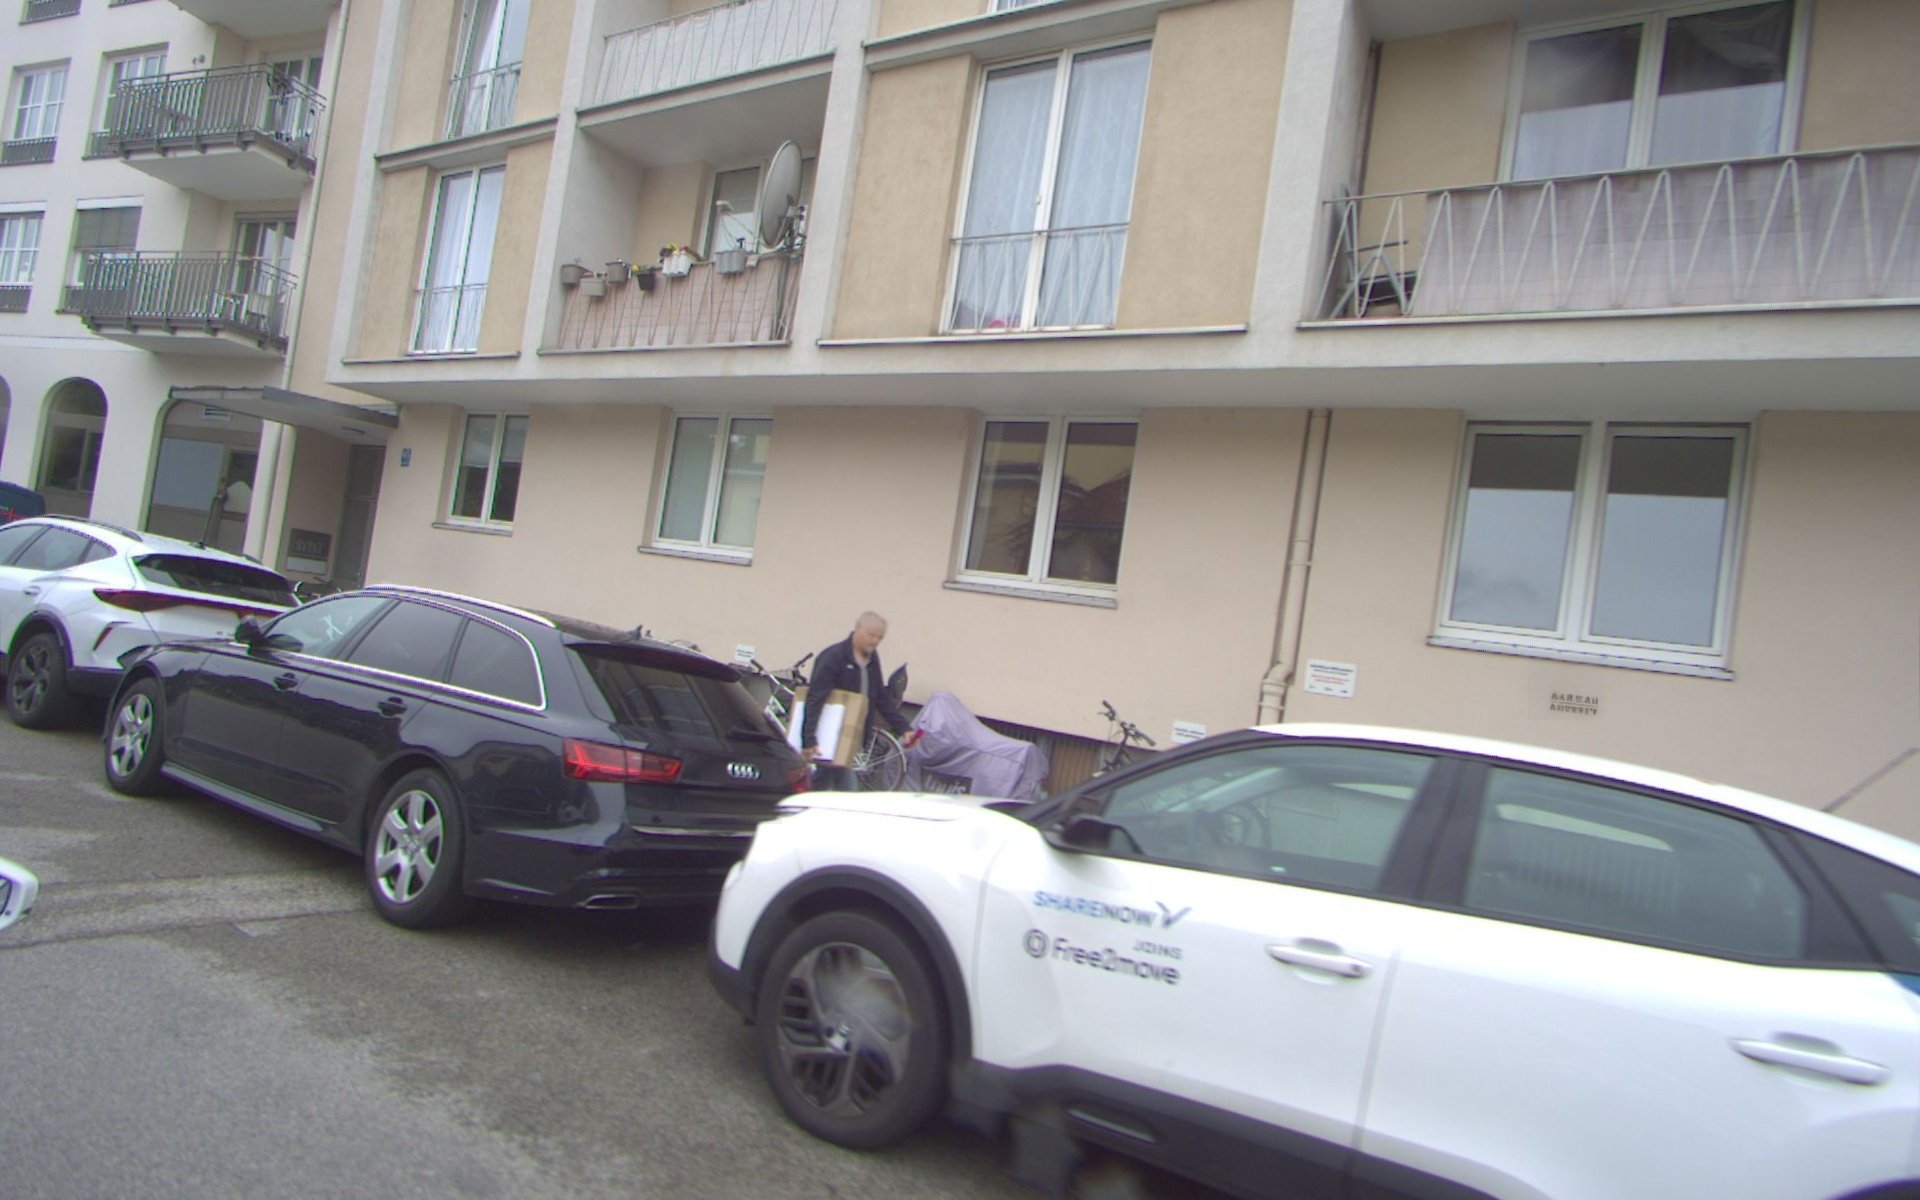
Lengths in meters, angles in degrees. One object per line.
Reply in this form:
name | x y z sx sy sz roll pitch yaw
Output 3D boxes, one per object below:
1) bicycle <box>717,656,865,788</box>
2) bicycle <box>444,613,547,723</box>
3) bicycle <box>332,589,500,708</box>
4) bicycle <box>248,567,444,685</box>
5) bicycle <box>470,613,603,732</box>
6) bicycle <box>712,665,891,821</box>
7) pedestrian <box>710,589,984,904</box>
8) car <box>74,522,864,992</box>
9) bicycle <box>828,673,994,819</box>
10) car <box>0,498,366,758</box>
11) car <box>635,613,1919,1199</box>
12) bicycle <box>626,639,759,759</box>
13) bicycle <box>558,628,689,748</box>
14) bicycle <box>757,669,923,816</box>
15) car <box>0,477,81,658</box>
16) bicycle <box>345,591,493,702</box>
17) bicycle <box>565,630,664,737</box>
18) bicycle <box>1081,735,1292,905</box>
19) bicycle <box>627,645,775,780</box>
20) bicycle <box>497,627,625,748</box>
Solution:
bicycle | -1.648 1.157 9.736 1.378 1.036 0.390 7 0 31
bicycle | -5.115 0.738 11.056 1.180 1.036 0.423 7 0 38
bicycle | -6.293 0.568 11.698 1.405 1.146 0.719 8 -2 -5
bicycle | -8.071 0.339 13.217 2.169 1.199 1.150 7 -2 29
bicycle | -4.916 0.831 11.672 1.384 1.146 0.534 8 -1 27
bicycle | -1.333 1.158 8.383 1.378 1.036 0.484 7 0 31
pedestrian | -0.726 0.886 6.541 1.297 1.707 0.900 7 -1 30
car | -2.928 0.630 5.696 4.420 1.514 1.745 7 -5 32
bicycle | -0.453 1.271 8.983 1.378 1.036 0.390 7 0 31
car | -7.357 0.108 8.516 4.197 1.551 1.749 9 -6 26
car | 1.204 1.152 3.215 4.147 1.514 1.746 7 -5 30
bicycle | -2.817 1.015 10.546 1.378 1.036 0.390 7 0 31
bicycle | -3.529 0.897 10.507 1.378 1.036 0.390 7 0 31
bicycle | -1.067 1.216 8.815 1.378 1.036 0.390 7 0 31
car | -12.395 -0.683 11.284 4.849 1.835 1.973 7 -4 27
bicycle | -6.669 0.572 12.443 1.384 1.146 0.534 8 -1 -5
bicycle | -3.838 0.920 11.164 0.985 1.036 0.374 7 0 31
bicycle | 1.689 1.608 7.573 1.378 0.947 0.445 7 0 31
bicycle | -2.449 1.034 9.458 1.378 1.036 0.390 7 0 31
bicycle | -4.100 0.877 10.316 1.280 1.036 0.424 7 0 31
